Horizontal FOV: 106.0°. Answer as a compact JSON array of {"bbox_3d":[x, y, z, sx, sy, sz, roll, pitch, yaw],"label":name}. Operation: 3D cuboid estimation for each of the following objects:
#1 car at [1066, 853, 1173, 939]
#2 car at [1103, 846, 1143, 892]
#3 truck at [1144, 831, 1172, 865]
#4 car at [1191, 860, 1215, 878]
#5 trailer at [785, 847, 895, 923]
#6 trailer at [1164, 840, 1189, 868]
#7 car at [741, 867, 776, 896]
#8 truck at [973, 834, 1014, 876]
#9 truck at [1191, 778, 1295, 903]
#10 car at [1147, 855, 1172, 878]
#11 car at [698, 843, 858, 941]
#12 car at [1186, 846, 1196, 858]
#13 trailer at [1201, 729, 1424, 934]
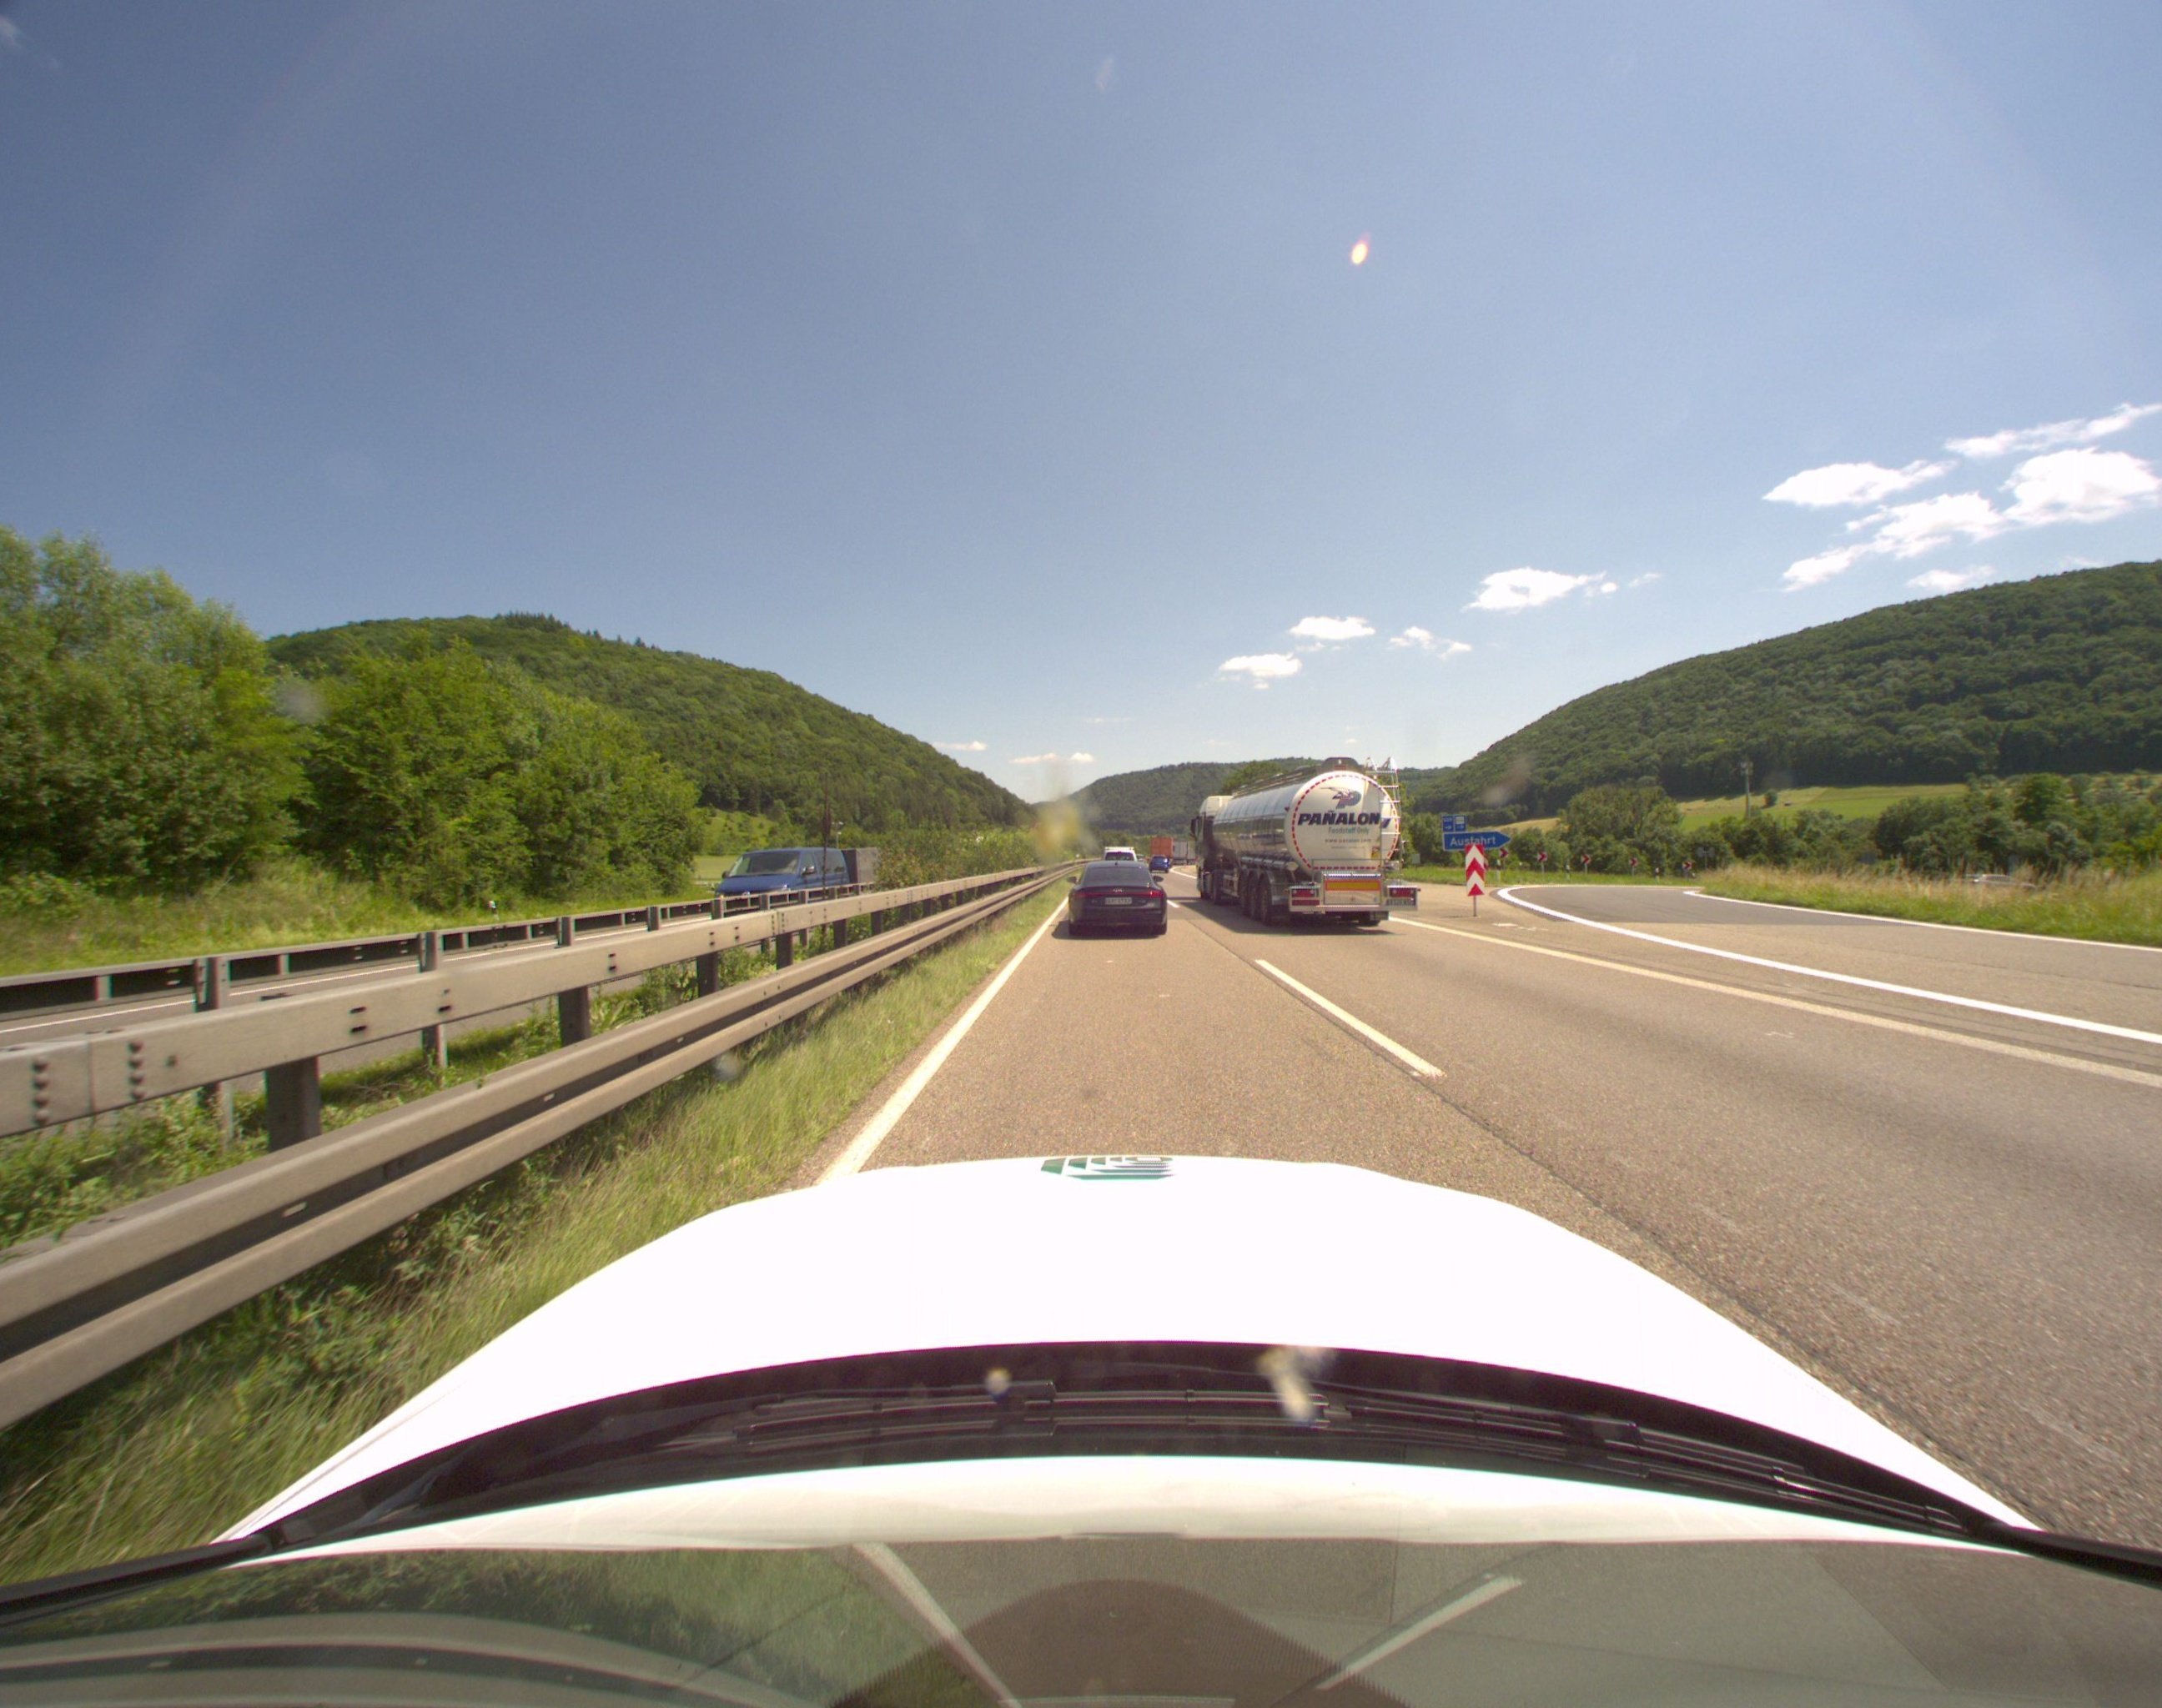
[{"bbox_3d":[0.662,0.764,16.634,1.844,1.488,4.080,-2,0,-2],"label":"car"},{"bbox_3d":[1.754,0.601,34.893,1.570,1.833,4.001,-2,0,2],"label":"car"},{"bbox_3d":[9.912,-0.751,105.760,2.806,4.003,14.965,-2,0,3],"label":"truck"},{"bbox_3d":[10.856,1.347,72.889,1.740,1.530,4.004,-2,0,3],"label":"car"},{"bbox_3d":[-7.140,0.861,24.551,2.017,2.070,3.830,-2,0,1],"label":"trailer"},{"bbox_3d":[15.680,0.009,134.513,3.004,4.382,10.988,-2,0,1],"label":"trailer"},{"bbox_3d":[-22.348,1.891,56.560,1.811,1.838,3.979,-1,0,-15],"label":"car"},{"bbox_3d":[-8.792,0.102,83.329,2.416,3.899,12.285,-2,0,1],"label":"truck"},{"bbox_3d":[5.297,-0.399,27.492,2.502,3.758,5.247,-2,0,1],"label":"truck"},{"bbox_3d":[7.234,1.140,75.411,1.985,2.002,4.003,-2,0,3],"label":"car"},{"bbox_3d":[-7.274,0.835,20.184,1.986,2.070,4.840,-2,0,2],"label":"car"},{"bbox_3d":[29.016,-0.497,214.800,1.985,2.935,4.902,-2,0,3],"label":"car"},{"bbox_3d":[5.167,-0.397,21.044,2.529,3.735,11.894,-2,0,1],"label":"trailer"}]
